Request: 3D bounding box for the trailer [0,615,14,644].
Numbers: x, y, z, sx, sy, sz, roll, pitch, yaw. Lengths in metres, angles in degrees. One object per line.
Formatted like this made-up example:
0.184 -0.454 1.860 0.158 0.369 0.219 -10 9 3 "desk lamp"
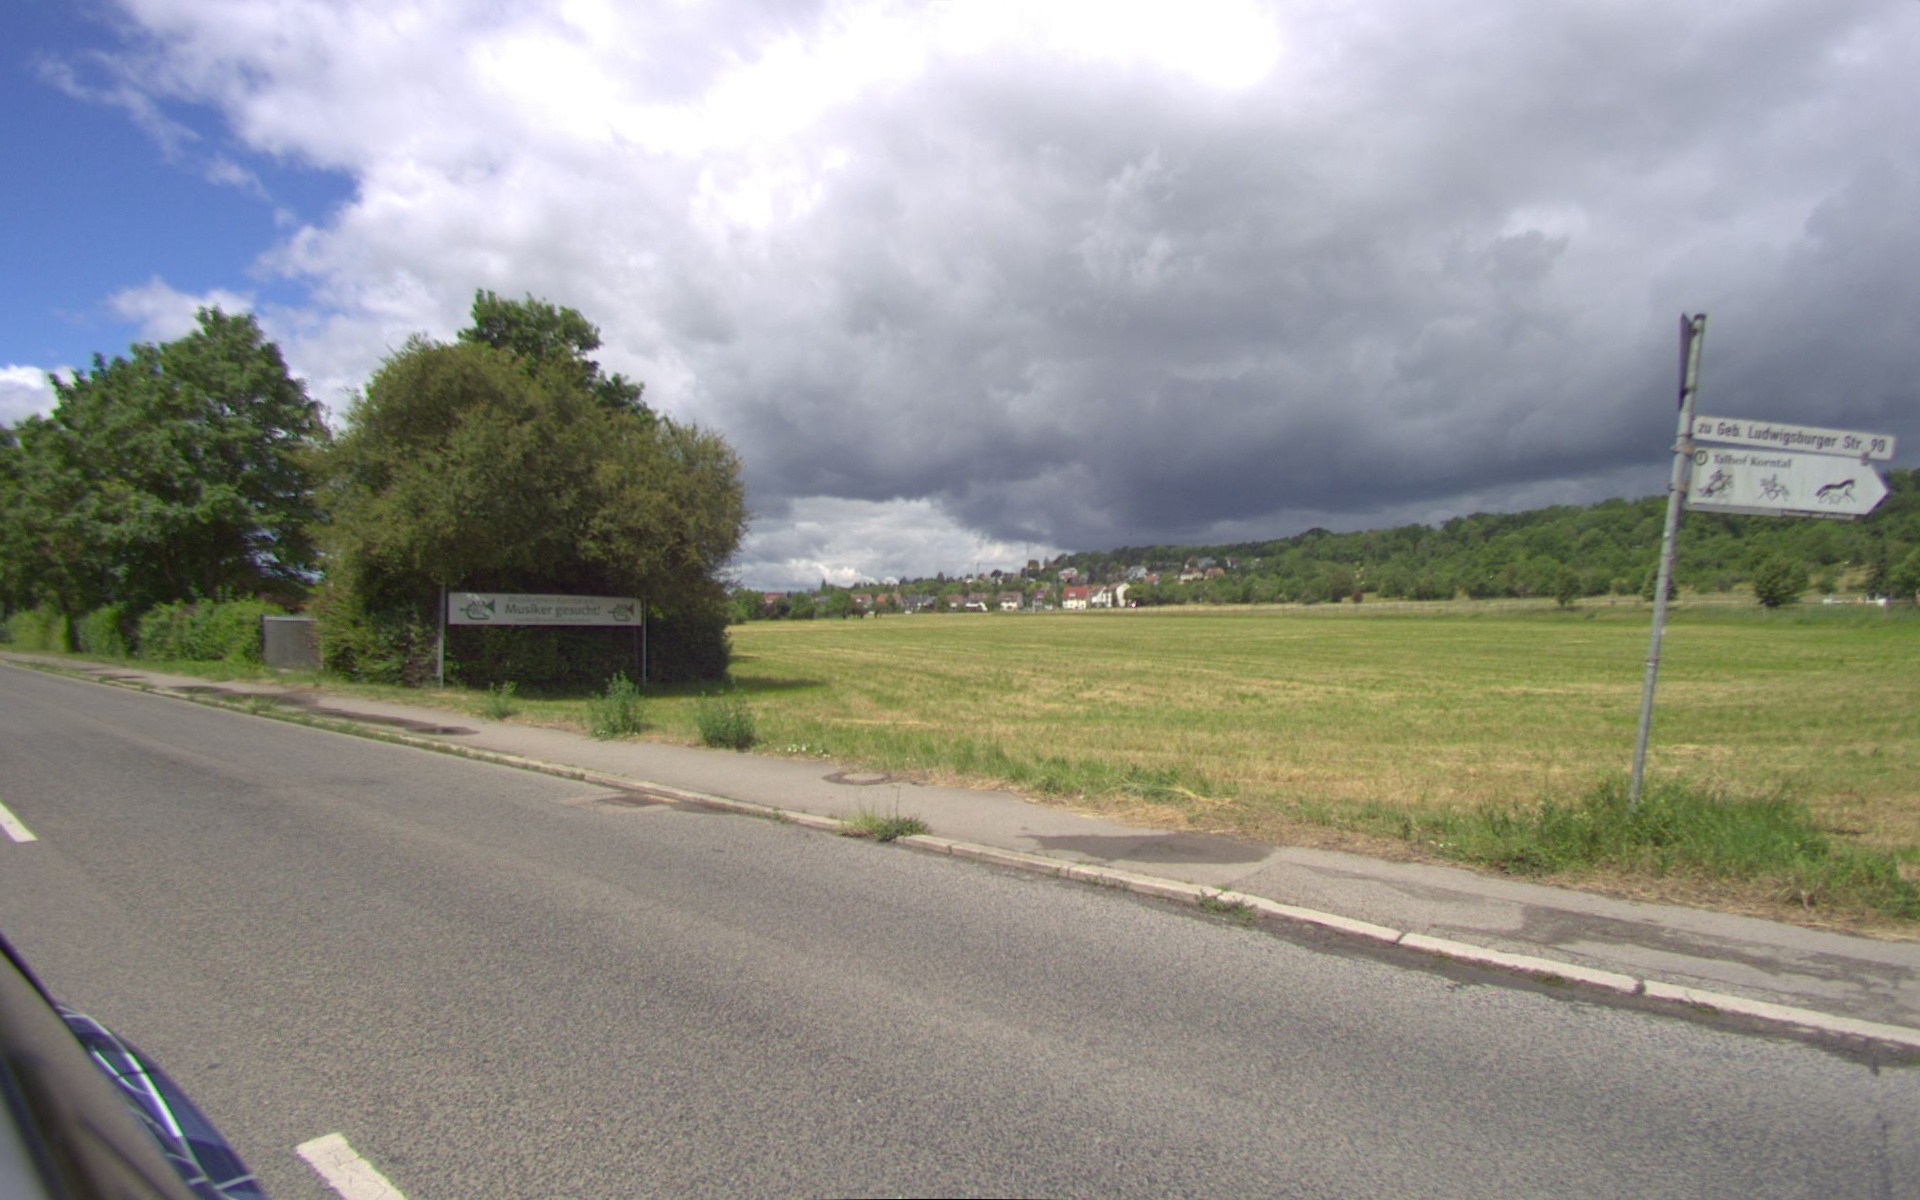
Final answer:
-136.073 3.999 138.188 3.301 4.114 9.386 0 -2 25 "trailer"
